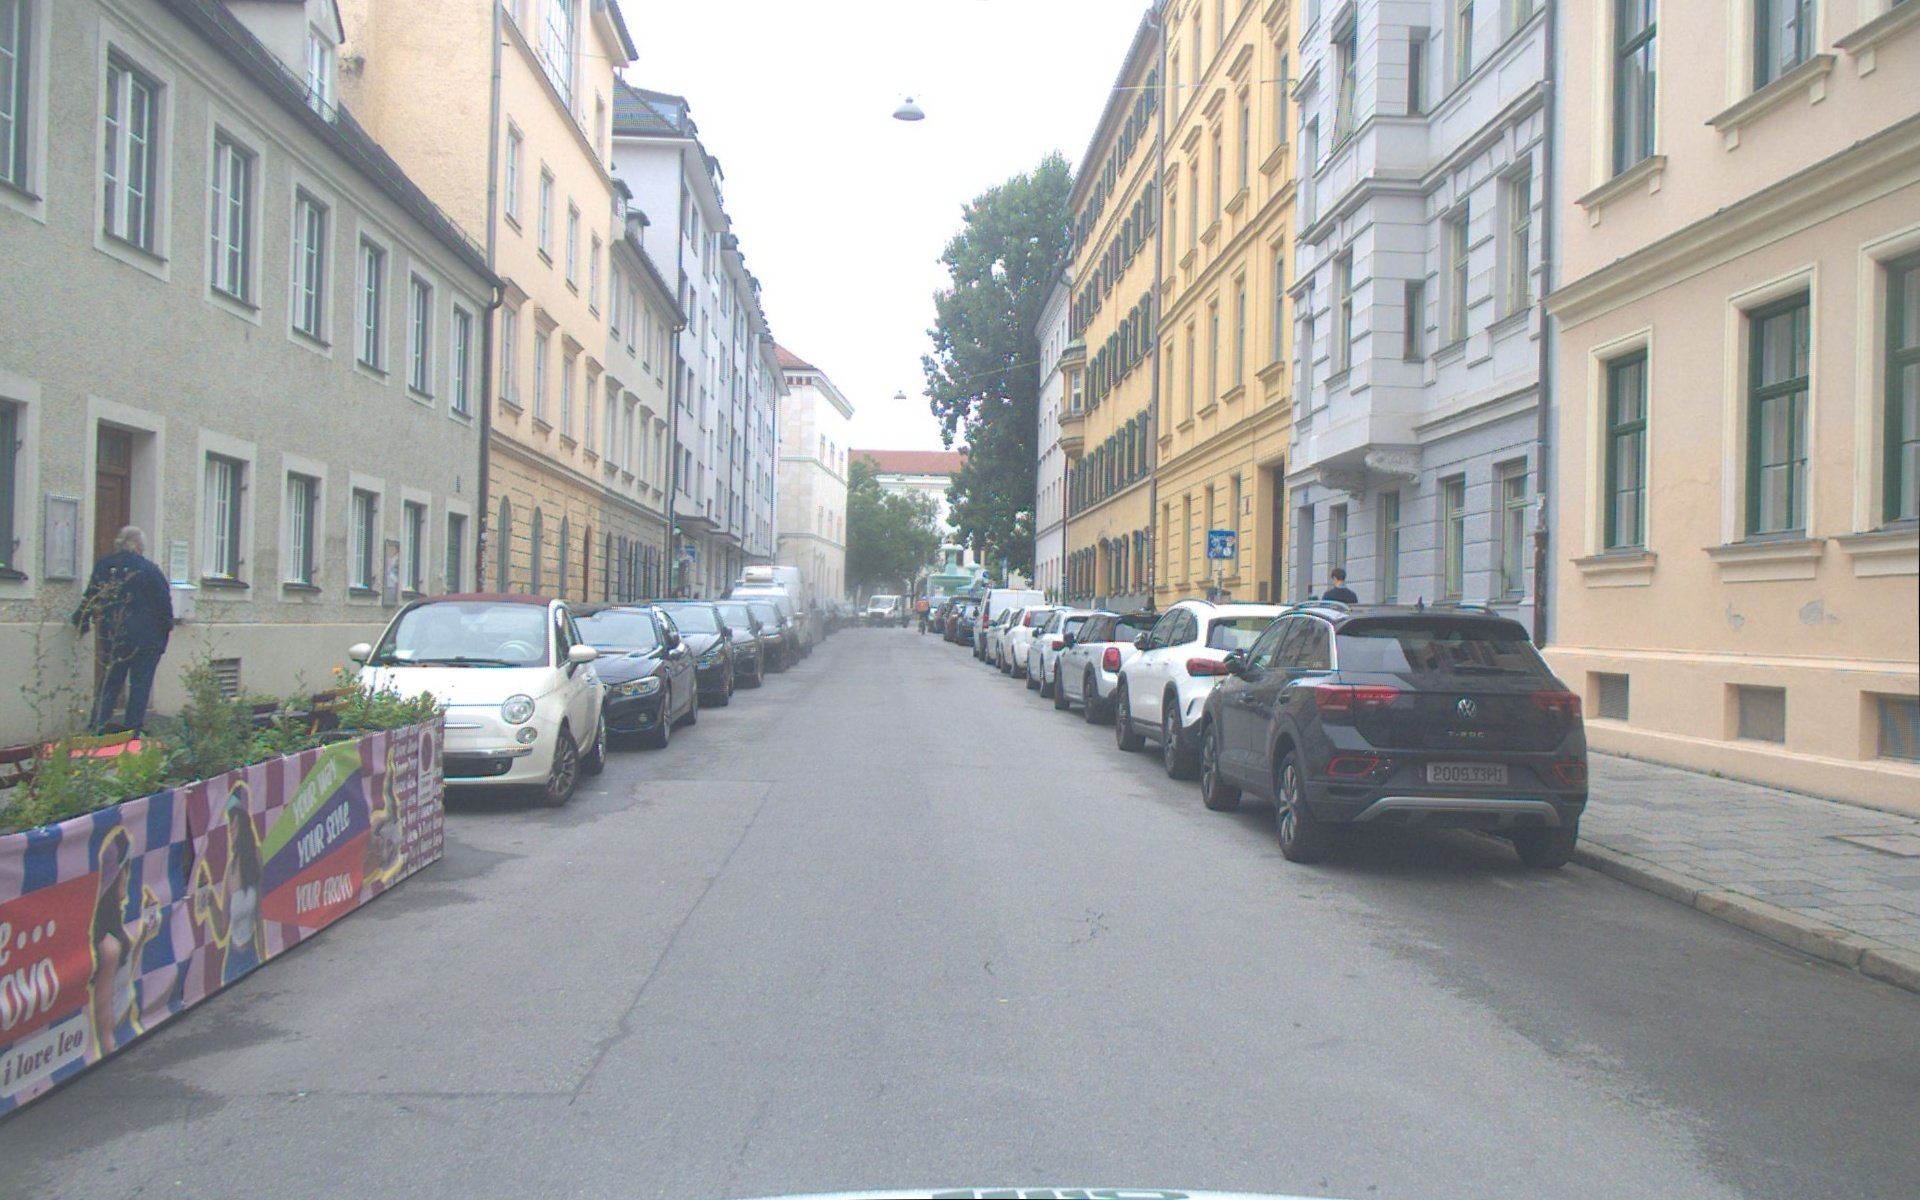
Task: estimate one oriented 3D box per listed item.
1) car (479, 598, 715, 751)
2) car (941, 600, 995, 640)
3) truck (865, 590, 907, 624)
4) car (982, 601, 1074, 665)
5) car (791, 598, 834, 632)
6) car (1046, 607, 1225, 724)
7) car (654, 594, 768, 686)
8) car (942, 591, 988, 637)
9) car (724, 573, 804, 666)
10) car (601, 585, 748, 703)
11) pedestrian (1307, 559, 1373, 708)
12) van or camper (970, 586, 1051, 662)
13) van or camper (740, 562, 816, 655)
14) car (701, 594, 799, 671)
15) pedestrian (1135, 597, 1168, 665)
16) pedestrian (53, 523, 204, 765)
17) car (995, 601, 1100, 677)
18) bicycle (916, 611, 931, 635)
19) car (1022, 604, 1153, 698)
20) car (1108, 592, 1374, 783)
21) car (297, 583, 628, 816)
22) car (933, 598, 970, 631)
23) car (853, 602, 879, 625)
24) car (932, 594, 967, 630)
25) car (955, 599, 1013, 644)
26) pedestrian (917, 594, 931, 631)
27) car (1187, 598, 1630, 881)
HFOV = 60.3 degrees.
[{"bbox_3d":[-3.778,0.706,17.995,1.763,1.362,4.682,2,0,-4],"label":"car"},{"bbox_3d":[0.278,0.784,64.777,1.776,1.449,4.243,2,-1,-4],"label":"car"},{"bbox_3d":[-5.152,0.511,115.922,2.076,2.287,6.188,1,-1,5],"label":"truck"},{"bbox_3d":[1.581,0.764,39.769,1.674,1.417,4.202,2,0,-5],"label":"car"},{"bbox_3d":[-6.479,0.651,72.880,1.781,1.470,3.815,0,0,-3],"label":"car"},{"bbox_3d":[2.325,0.834,22.876,1.675,1.429,4.203,2,0,-5],"label":"car"},{"bbox_3d":[-4.277,0.642,28.918,1.781,1.467,4.126,0,0,-6],"label":"car"},{"bbox_3d":[0.191,0.605,71.781,1.775,1.829,4.245,2,-1,-2],"label":"car"},{"bbox_3d":[-4.629,0.450,39.182,1.721,2.030,4.619,2,0,-7],"label":"car"},{"bbox_3d":[-4.040,0.597,23.984,1.720,1.522,4.196,2,0,-5],"label":"car"},{"bbox_3d":[5.270,0.467,22.946,0.656,2.015,0.708,-2,-1,-2],"label":"pedestrian"},{"bbox_3d":[1.310,0.614,45.005,1.797,1.904,5.076,1,0,-2],"label":"van or camper"},{"bbox_3d":[-4.819,0.229,44.443,1.720,2.321,5.269,1,0,-3],"label":"van or camper"},{"bbox_3d":[-4.260,0.639,34.032,1.720,1.433,4.100,2,0,-4],"label":"car"},{"bbox_3d":[4.580,0.745,39.558,0.647,1.599,0.642,-2,-1,-3],"label":"pedestrian"},{"bbox_3d":[-6.879,0.362,13.723,0.806,1.931,0.827,1,-2,-4],"label":"pedestrian"},{"bbox_3d":[1.799,0.785,35.212,1.674,1.480,4.092,2,0,-5],"label":"car"},{"bbox_3d":[-1.702,1.076,77.674,0.662,1.114,1.759,1,-1,-2],"label":"bicycle"},{"bbox_3d":[2.103,0.818,28.518,1.674,1.433,4.812,2,0,-2],"label":"car"},{"bbox_3d":[2.631,0.765,16.532,1.708,1.611,4.464,1,0,-2],"label":"car"},{"bbox_3d":[-3.671,0.669,12.855,1.721,1.501,3.709,2,0,-6],"label":"car"},{"bbox_3d":[-0.452,0.761,85.671,1.775,1.642,4.154,1,0,-2],"label":"car"},{"bbox_3d":[-6.847,0.967,120.657,1.671,1.609,3.862,0,0,0],"label":"car"},{"bbox_3d":[-0.600,0.661,91.544,1.814,1.953,4.767,1,0,-2],"label":"car"},{"bbox_3d":[0.838,0.757,59.986,1.776,1.490,4.244,2,-1,-3],"label":"car"},{"bbox_3d":[-1.699,0.591,77.705,0.629,1.744,0.842,1,-2,-2],"label":"pedestrian"},{"bbox_3d":[2.813,0.794,11.399,1.719,1.547,4.272,1,0,-2],"label":"car"}]
